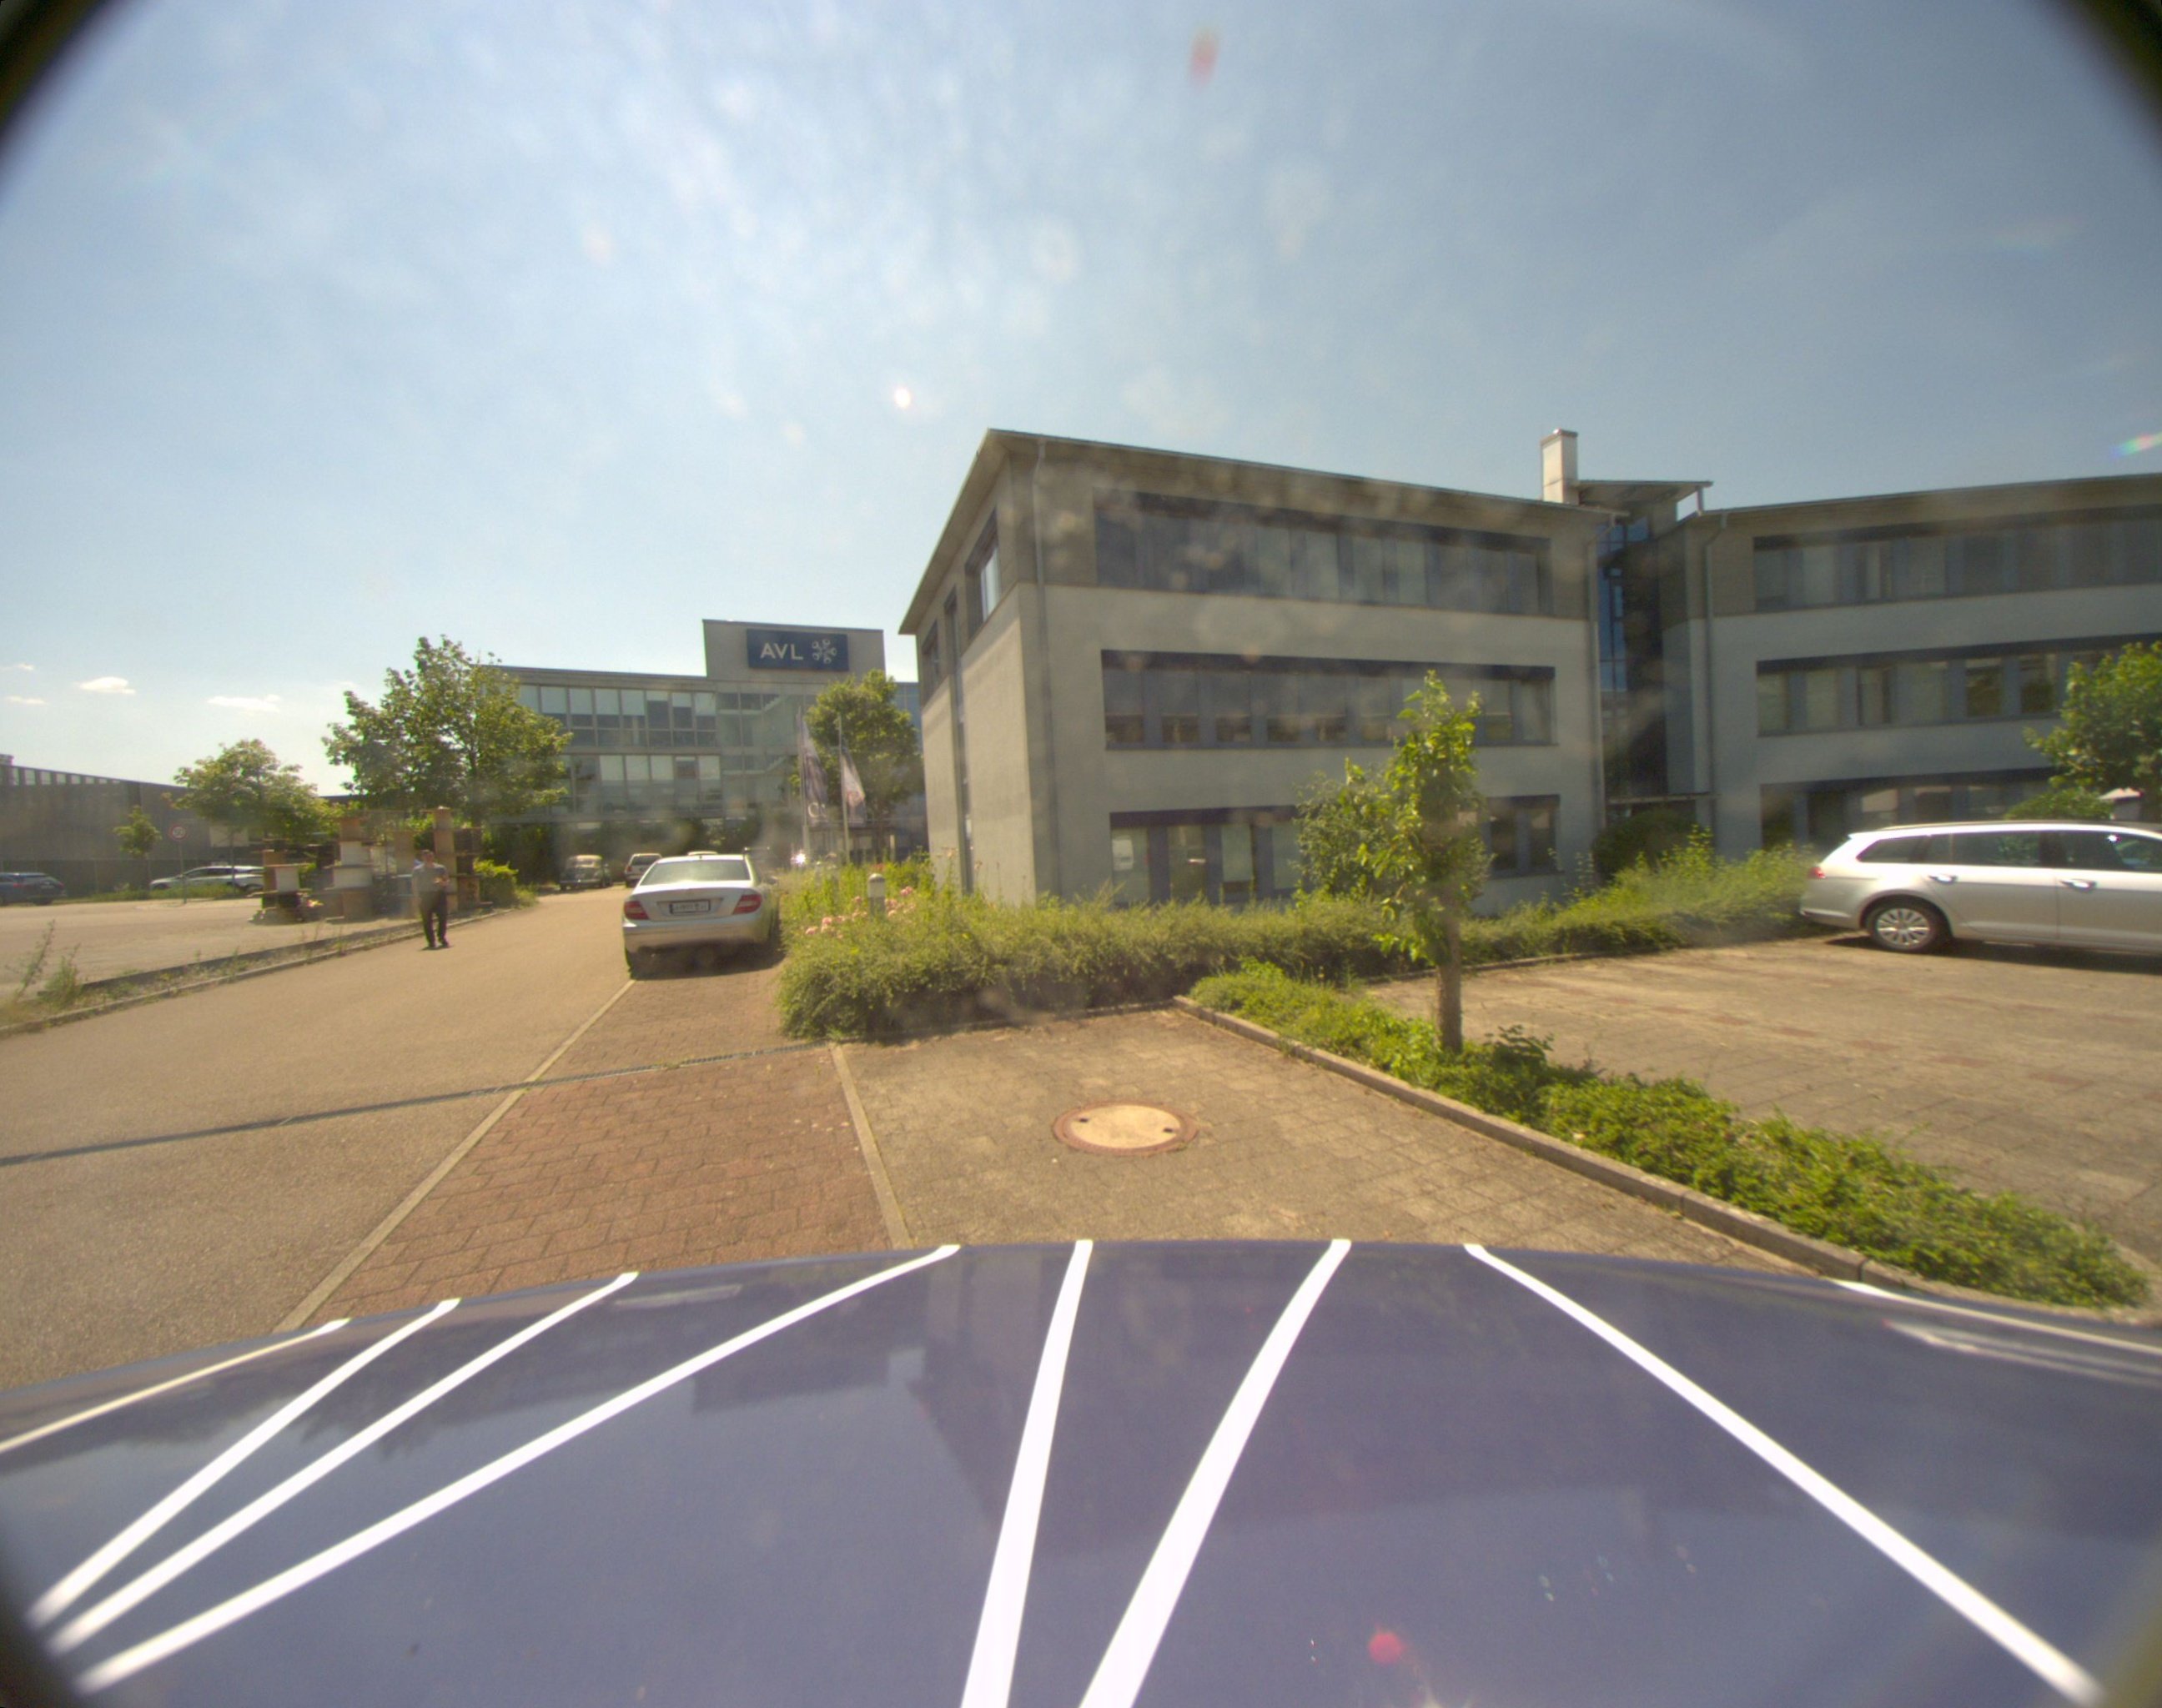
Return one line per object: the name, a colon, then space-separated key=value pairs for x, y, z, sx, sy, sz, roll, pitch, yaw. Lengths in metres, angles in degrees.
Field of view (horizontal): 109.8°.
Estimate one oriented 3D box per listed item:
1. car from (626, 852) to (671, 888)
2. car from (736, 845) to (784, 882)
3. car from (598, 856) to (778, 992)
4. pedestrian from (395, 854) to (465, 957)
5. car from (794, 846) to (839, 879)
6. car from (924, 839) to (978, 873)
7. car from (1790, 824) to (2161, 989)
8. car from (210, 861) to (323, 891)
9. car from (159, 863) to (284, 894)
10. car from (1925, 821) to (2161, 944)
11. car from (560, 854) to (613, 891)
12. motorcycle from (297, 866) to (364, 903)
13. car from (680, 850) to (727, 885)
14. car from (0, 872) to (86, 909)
car: x=-19.564 y=0.693 z=34.340 sx=1.646 sy=1.444 sz=3.591 roll=-2 pitch=2 yaw=-30
car: x=-15.489 y=0.406 z=36.541 sx=1.942 sy=1.594 sz=3.851 roll=-2 pitch=2 yaw=-25
car: x=-5.441 y=0.819 z=11.033 sx=1.736 sy=1.448 sz=4.140 roll=-2 pitch=2 yaw=-20
pedestrian: x=-11.844 y=0.910 z=13.827 sx=0.766 sy=1.759 sz=0.810 roll=1 pitch=4 yaw=45
car: x=-13.131 y=0.366 z=37.567 sx=1.733 sy=1.476 sz=4.388 roll=-3 pitch=2 yaw=-23
car: x=-6.948 y=0.078 z=40.301 sx=1.835 sy=1.628 sz=4.162 roll=-2 pitch=2 yaw=-23
car: x=10.484 y=0.456 z=7.683 sx=1.865 sy=1.464 sz=4.475 roll=-3 pitch=1 yaw=-23
car: x=-47.831 y=1.277 z=44.691 sx=4.288 sy=1.467 sz=1.779 roll=-2 pitch=2 yaw=-7
car: x=-47.154 y=1.322 z=41.762 sx=4.414 sy=1.467 sz=1.779 roll=-2 pitch=2 yaw=-7
car: x=13.888 y=0.314 z=9.493 sx=2.002 sy=1.453 sz=3.993 roll=-2 pitch=0 yaw=-20
car: x=-21.593 y=0.756 z=33.258 sx=1.525 sy=1.437 sz=3.411 roll=-2 pitch=2 yaw=-26
motorcycle: x=-28.887 y=1.134 z=29.301 sx=0.875 sy=1.252 sz=2.829 roll=-3 pitch=2 yaw=-25
car: x=-17.806 y=0.597 z=35.784 sx=1.735 sy=1.444 sz=3.591 roll=-2 pitch=2 yaw=-30
car: x=-45.707 y=1.587 z=31.989 sx=4.446 sy=1.402 sz=1.857 roll=-3 pitch=2 yaw=-10
